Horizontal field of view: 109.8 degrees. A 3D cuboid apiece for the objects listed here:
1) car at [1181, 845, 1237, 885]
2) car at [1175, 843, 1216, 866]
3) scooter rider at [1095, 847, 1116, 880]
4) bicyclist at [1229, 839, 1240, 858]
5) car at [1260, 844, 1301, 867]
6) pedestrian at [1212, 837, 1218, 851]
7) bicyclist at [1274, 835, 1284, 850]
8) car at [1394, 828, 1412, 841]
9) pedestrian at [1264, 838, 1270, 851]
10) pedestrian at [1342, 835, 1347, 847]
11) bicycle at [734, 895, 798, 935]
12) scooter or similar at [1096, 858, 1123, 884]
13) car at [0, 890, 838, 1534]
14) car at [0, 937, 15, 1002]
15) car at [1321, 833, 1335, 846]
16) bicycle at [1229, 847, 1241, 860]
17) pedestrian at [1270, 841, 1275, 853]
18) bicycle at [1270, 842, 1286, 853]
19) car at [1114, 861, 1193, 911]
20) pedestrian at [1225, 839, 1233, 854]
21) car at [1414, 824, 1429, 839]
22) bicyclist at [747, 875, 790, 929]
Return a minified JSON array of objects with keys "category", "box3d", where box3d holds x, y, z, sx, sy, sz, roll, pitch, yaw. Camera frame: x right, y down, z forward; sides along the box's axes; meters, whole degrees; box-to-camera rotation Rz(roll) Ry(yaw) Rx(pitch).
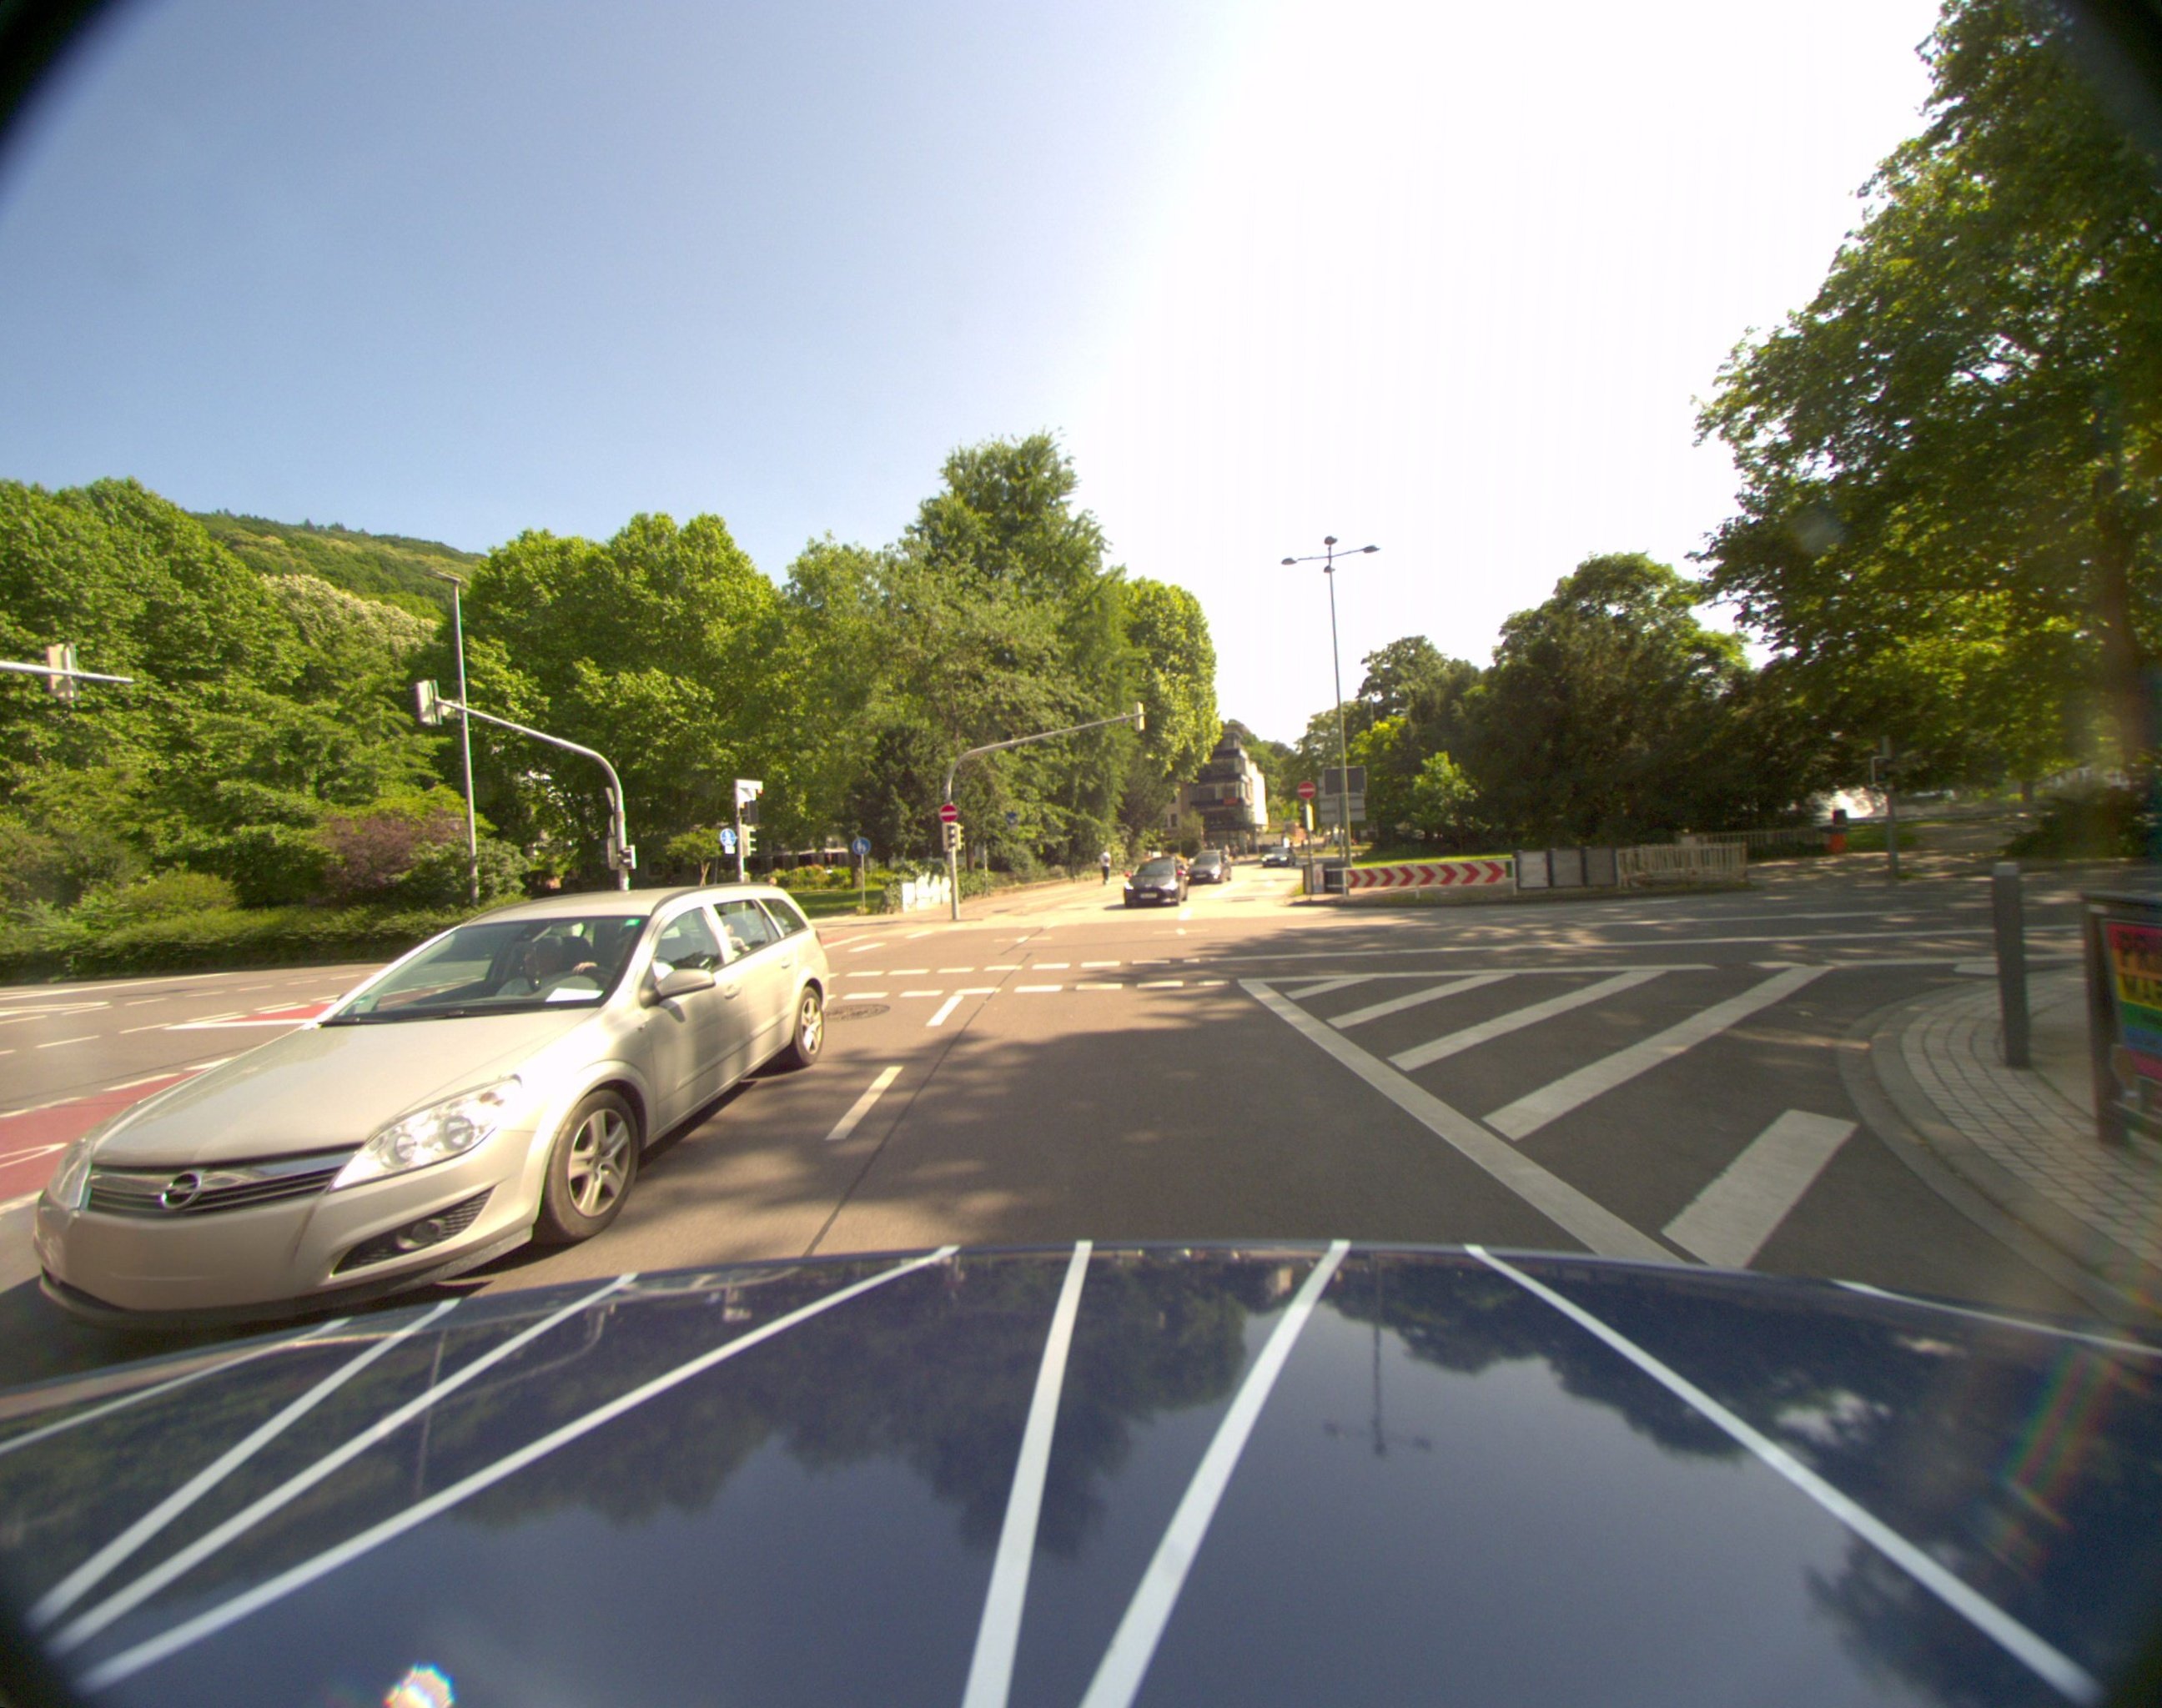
[{"category":"car","box3d":[6.366,0.497,37.387,1.887,1.674,4.146,-1,2,21]},{"category":"car","box3d":[7.830,0.003,51.623,1.939,1.421,4.555,-3,0,19]},{"category":"scooter rider","box3d":[1.293,0.504,40.251,0.822,1.662,0.710,-2,2,24]},{"category":"bicyclist","box3d":[14.015,-0.517,69.264,0.765,1.626,0.944,-4,1,20]},{"category":"car","box3d":[14.468,0.101,54.961,1.938,1.421,4.556,-3,0,26]},{"category":"pedestrian","box3d":[17.783,-1.324,100.844,0.700,1.695,0.603,-4,1,19]},{"category":"bicyclist","box3d":[21.015,-1.218,80.542,0.709,1.603,0.733,-3,1,38]},{"category":"car","box3d":[42.844,-2.616,101.171,1.848,1.652,4.004,-3,0,17]},{"category":"pedestrian","box3d":[25.871,-1.295,105.778,0.601,1.695,0.605,-4,1,26]},{"category":"pedestrian","box3d":[39.891,-1.946,115.138,0.601,1.695,0.605,-3,1,28]},{"category":"bicycle","box3d":[-9.937,1.911,23.990,1.677,1.114,0.783,-3,1,-10]},{"category":"scooter or similar","box3d":[1.542,0.897,40.763,0.819,1.291,1.698,-2,1,23]},{"category":"car","box3d":[-2.934,1.094,4.254,1.712,1.513,4.406,-4,0,-1]},{"category":"car","box3d":[-24.912,2.547,15.345,4.094,1.355,1.860,-3,-1,0]},{"category":"car","box3d":[36.836,-2.167,113.257,1.848,1.777,4.005,-3,0,20]},{"category":"bicycle","box3d":[14.121,-0.042,69.509,0.758,1.114,2.004,-2,2,20]},{"category":"pedestrian","box3d":[27.911,-1.003,110.663,0.601,1.695,0.605,-3,1,21]},{"category":"bicycle","box3d":[20.910,-0.724,80.570,0.709,1.048,2.211,-3,1,38]},{"category":"car","box3d":[2.495,0.994,25.195,1.808,1.443,3.959,-3,-1,16]},{"category":"pedestrian","box3d":[16.457,-0.806,84.405,0.710,1.663,0.535,-3,1,17]},{"category":"car","box3d":[49.661,-3.324,110.884,1.848,2.002,4.006,-3,1,24]},{"category":"bicyclist","box3d":[-9.848,1.502,23.978,0.943,1.566,0.867,-3,2,-7]}]
